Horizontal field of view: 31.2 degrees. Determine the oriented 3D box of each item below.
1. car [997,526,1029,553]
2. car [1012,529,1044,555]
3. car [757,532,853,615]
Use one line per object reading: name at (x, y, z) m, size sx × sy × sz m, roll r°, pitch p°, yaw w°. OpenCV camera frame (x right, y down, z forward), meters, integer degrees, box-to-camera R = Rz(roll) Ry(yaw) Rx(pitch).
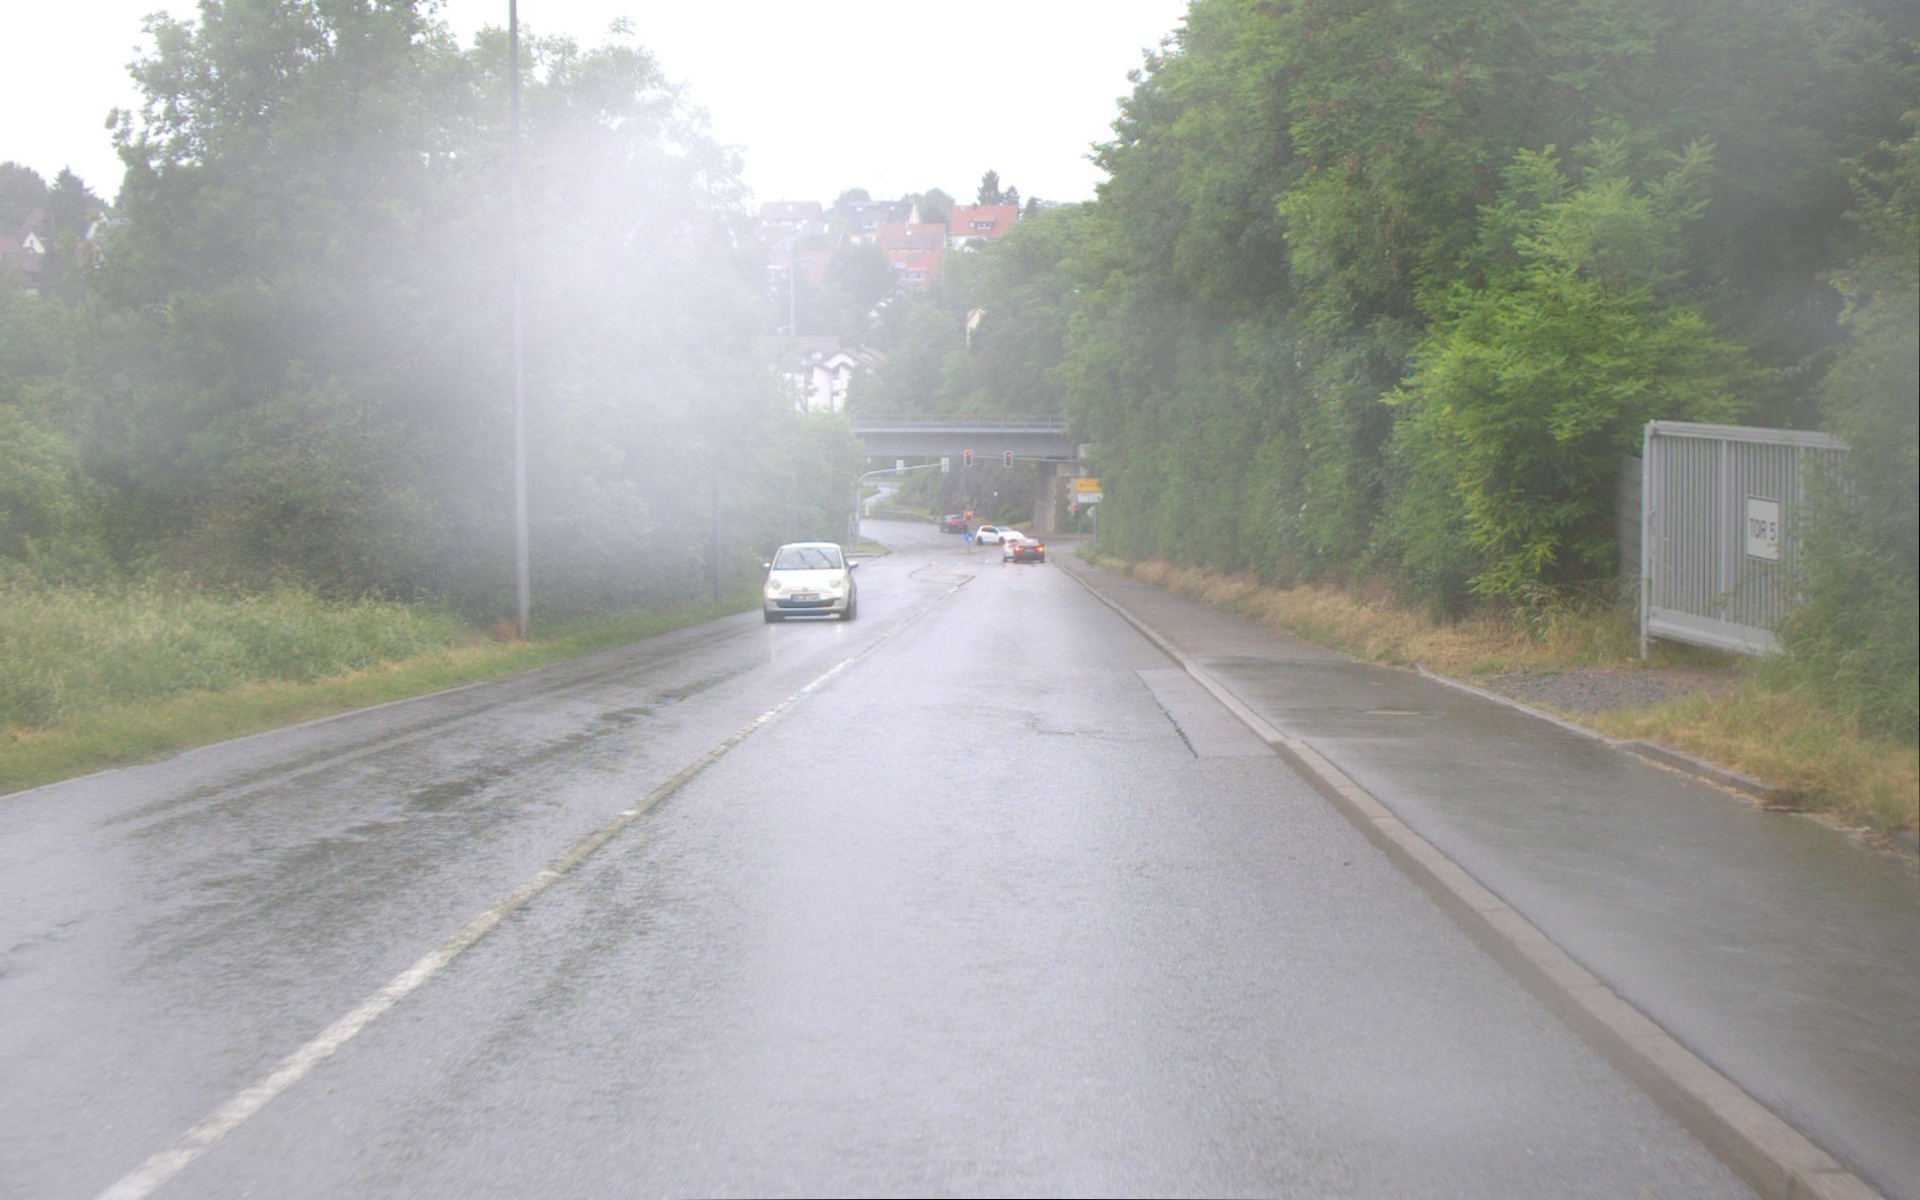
car at (3.162, -3.593, 204.288) m, size 1.768 × 1.557 × 4.000 m, roll -2°, pitch 1°, yaw 2°
car at (3.896, -3.332, 197.673) m, size 1.768 × 1.375 × 4.000 m, roll -2°, pitch 1°, yaw 2°
car at (-2.933, -0.517, 65.549) m, size 1.639 × 1.483 × 3.454 m, roll -2°, pitch 1°, yaw 0°
